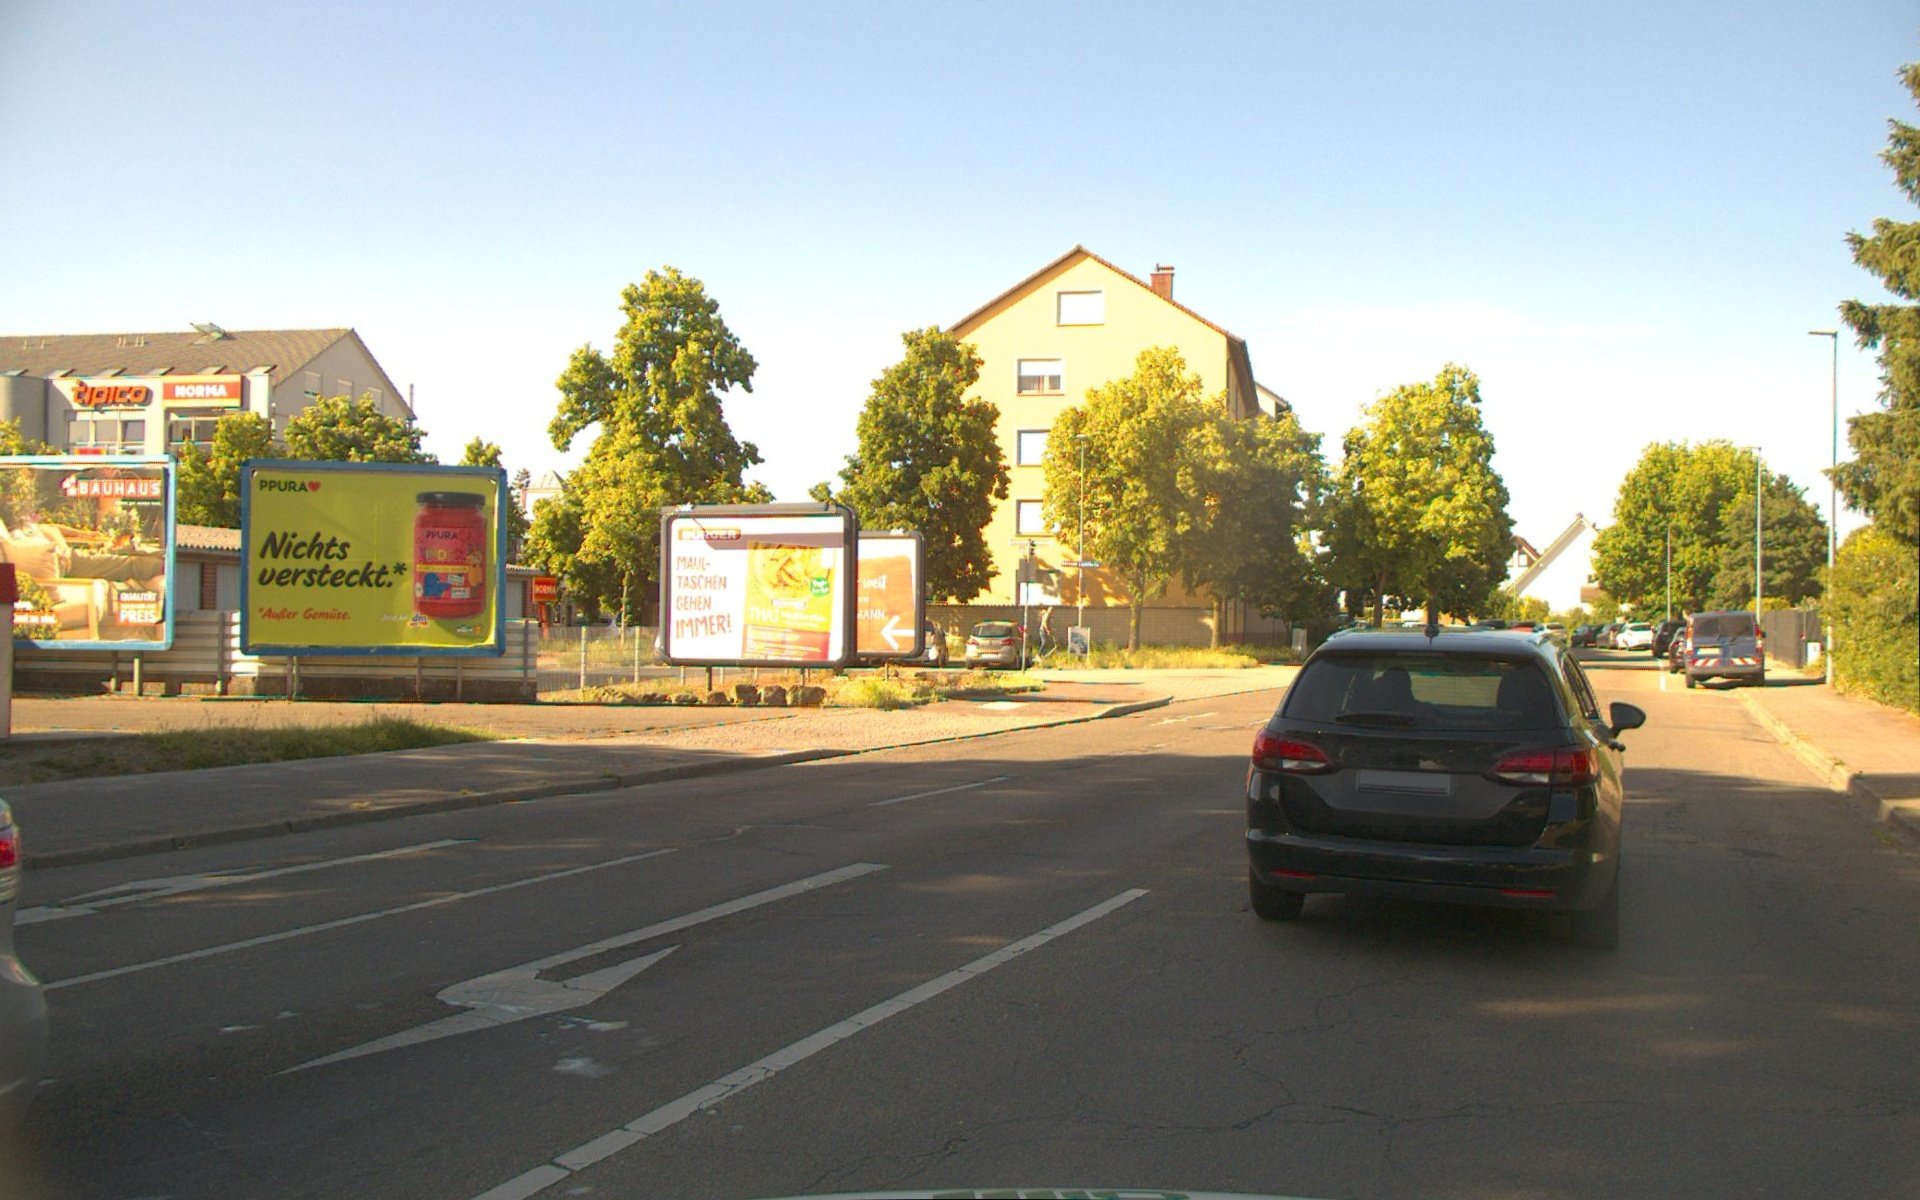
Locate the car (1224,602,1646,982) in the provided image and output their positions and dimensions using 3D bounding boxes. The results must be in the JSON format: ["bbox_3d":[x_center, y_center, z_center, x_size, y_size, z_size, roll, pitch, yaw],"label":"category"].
[{"bbox_3d":[2.794,0.836,9.083,1.726,1.517,4.290,1,-1,22],"label":"car"}]

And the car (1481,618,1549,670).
[{"bbox_3d":[18.846,1.461,56.047,1.971,1.596,4.393,1,0,21],"label":"car"}]

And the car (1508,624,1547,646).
[{"bbox_3d":[40.819,2.543,119.069,1.781,1.561,4.261,0,-1,6],"label":"car"}]

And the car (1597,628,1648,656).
[{"bbox_3d":[39.470,2.502,98.636,1.870,1.628,4.297,0,-1,8],"label":"car"}]

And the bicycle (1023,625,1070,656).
[{"bbox_3d":[3.018,1.404,57.472,1.587,1.029,0.405,1,-3,-9],"label":"bicycle"}]

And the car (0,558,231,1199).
[{"bbox_3d":[-3.522,0.654,2.156,1.799,1.515,4.890,-1,-1,21],"label":"car"}]

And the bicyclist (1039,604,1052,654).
[{"bbox_3d":[2.971,1.022,57.502,0.381,1.715,0.381,1,-3,-9],"label":"bicyclist"}]

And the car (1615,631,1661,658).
[{"bbox_3d":[38.438,2.514,93.883,1.723,1.506,4.297,0,-1,13],"label":"car"}]

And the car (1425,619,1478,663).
[{"bbox_3d":[18.459,1.575,62.084,1.665,1.506,4.052,2,-2,19],"label":"car"}]

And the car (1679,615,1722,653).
[{"bbox_3d":[35.102,1.605,78.510,1.742,1.754,4.292,-1,-2,23],"label":"car"}]

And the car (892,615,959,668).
[{"bbox_3d":[-1.108,1.346,55.246,1.661,1.650,3.884,0,0,7],"label":"car"}]

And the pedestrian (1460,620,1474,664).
[{"bbox_3d":[21.138,1.755,68.967,0.494,1.792,0.695,-1,-3,19],"label":"pedestrian"}]

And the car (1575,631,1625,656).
[{"bbox_3d":[40.289,2.742,104.239,1.963,1.501,4.297,0,-1,7],"label":"car"}]

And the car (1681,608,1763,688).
[{"bbox_3d":[20.015,1.228,43.578,1.799,1.941,4.696,1,-1,23],"label":"car"}]

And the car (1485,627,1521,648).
[{"bbox_3d":[40.995,2.834,124.963,1.781,1.561,4.261,0,-1,6],"label":"car"}]

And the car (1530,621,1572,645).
[{"bbox_3d":[40.550,2.270,113.516,1.781,1.561,4.261,0,-1,6],"label":"car"}]

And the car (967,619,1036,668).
[{"bbox_3d":[1.387,1.383,53.655,1.692,1.489,3.885,0,0,10],"label":"car"}]
